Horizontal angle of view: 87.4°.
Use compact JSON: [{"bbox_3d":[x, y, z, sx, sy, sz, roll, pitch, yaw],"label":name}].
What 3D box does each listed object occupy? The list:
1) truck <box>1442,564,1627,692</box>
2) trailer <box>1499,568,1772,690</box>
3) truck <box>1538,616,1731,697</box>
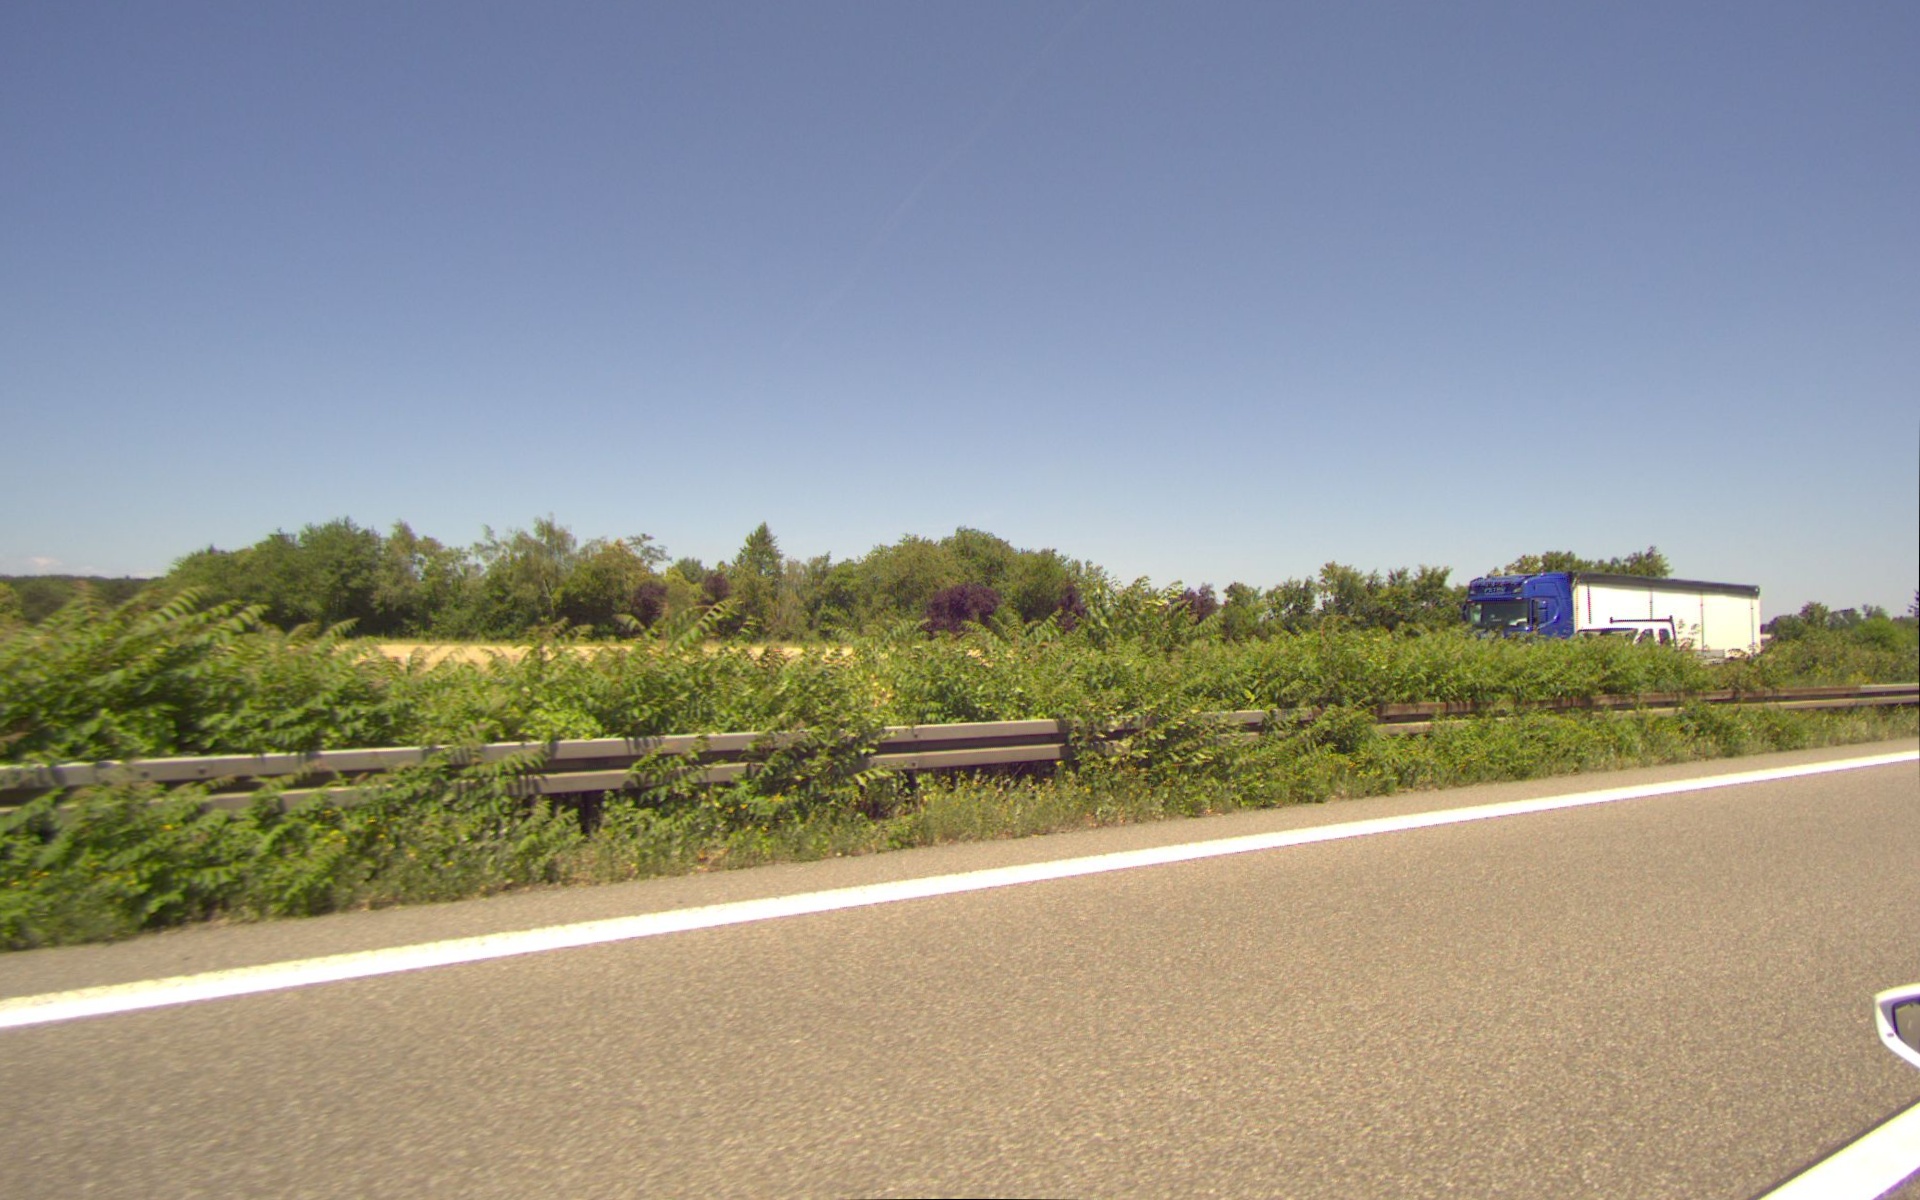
[{"bbox_3d":[20.059,0.958,35.051,5.849,4.112,3.044,2,0,-30],"label":"truck"},{"bbox_3d":[26.404,1.169,38.807,13.793,4.112,3.043,2,0,-31],"label":"trailer"},{"bbox_3d":[20.412,1.663,30.301,6.496,2.182,2.237,2,0,-30],"label":"truck"}]
